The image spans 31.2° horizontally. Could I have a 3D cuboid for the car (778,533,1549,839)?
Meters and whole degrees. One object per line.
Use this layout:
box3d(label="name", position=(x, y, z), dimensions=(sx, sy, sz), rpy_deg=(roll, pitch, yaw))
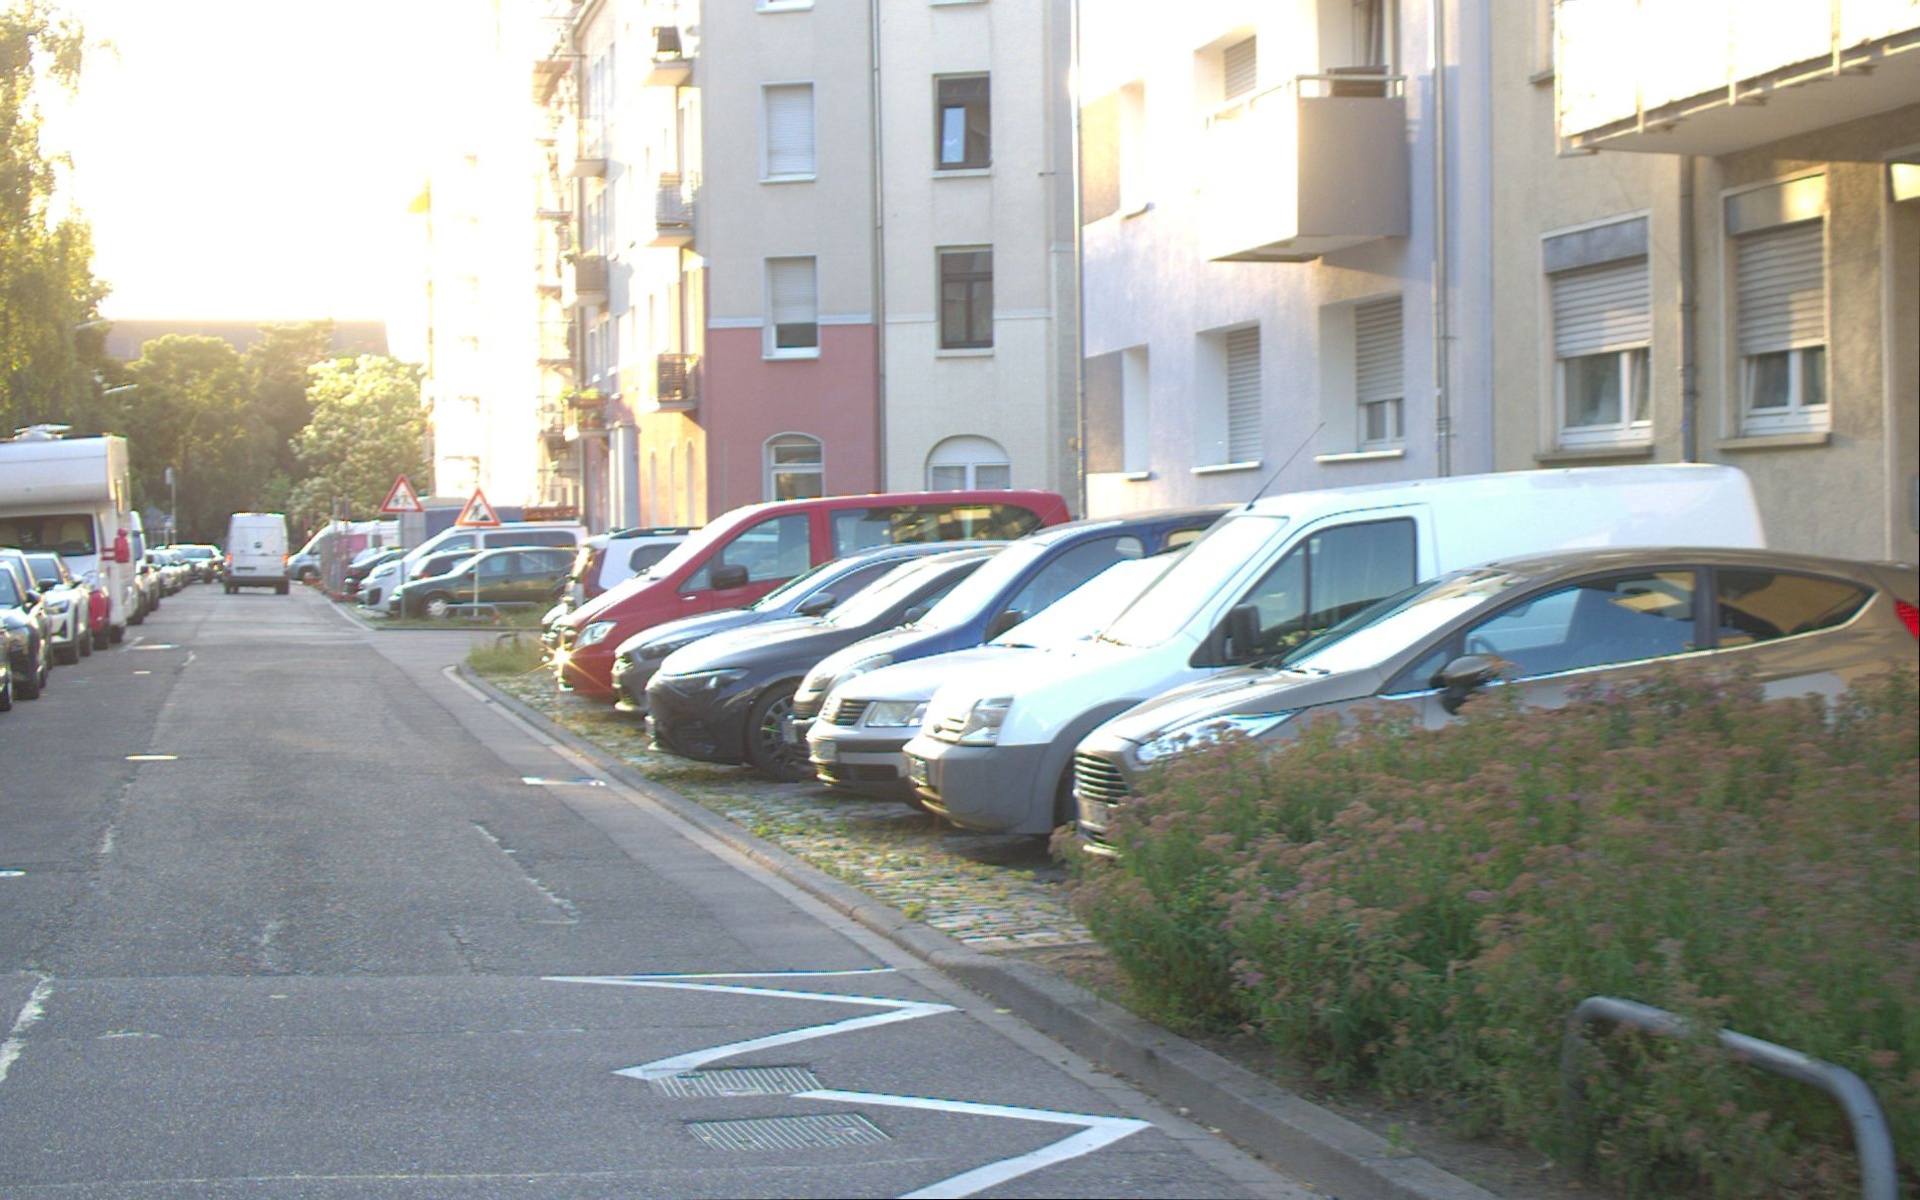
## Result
box3d(label="car", position=(1.085, 0.425, 19.138), dimensions=(3.954, 1.517, 1.706), rpy_deg=(-1, 1, -11))

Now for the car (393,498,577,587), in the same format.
box3d(label="car", position=(-11.040, -1.339, 79.824), dimensions=(3.986, 2.007, 2.001), rpy_deg=(-1, 1, -15))

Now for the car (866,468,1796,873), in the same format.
box3d(label="car", position=(1.799, 0.300, 17.197), dimensions=(4.278, 1.854, 1.742), rpy_deg=(-1, 1, -11))

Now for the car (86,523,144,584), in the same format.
box3d(label="car", position=(-26.629, -1.489, 108.408), dimensions=(1.652, 1.824, 3.877), rpy_deg=(-2, 1, -13))

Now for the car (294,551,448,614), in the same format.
box3d(label="car", position=(-15.853, -0.472, 92.491), dimensions=(3.986, 1.525, 1.659), rpy_deg=(-2, 2, -12))

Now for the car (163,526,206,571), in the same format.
box3d(label="car", position=(-32.698, -2.170, 144.837), dimensions=(1.652, 1.824, 3.877), rpy_deg=(-2, 1, -13))

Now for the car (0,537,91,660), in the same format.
box3d(label="car", position=(-12.526, -0.046, 45.722), dimensions=(1.652, 1.536, 3.877), rpy_deg=(-2, 2, -12))

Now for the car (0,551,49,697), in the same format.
box3d(label="car", position=(-10.486, 0.234, 36.071), dimensions=(1.652, 1.430, 3.877), rpy_deg=(-2, 2, -13))

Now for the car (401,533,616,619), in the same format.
box3d(label="car", position=(-8.799, -0.481, 66.939), dimensions=(3.986, 1.525, 1.659), rpy_deg=(-2, 2, -12))

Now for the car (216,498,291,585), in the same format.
box3d(label="car", position=(-23.165, -1.924, 112.624), dimensions=(2.128, 2.708, 4.835), rpy_deg=(-2, 1, -13))

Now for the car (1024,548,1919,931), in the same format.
box3d(label="car", position=(2.363, 0.541, 14.967), dimensions=(3.871, 1.487, 1.742), rpy_deg=(-1, 1, -11))

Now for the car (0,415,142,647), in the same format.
box3d(label="car", position=(-14.144, -1.051, 52.943), dimensions=(2.619, 3.257, 7.699), rpy_deg=(-2, 1, -11))

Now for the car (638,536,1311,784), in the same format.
box3d(label="car", position=(0.064, 0.369, 23.525), dimensions=(4.307, 1.444, 1.655), rpy_deg=(-2, 1, -11))

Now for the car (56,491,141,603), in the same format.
box3d(label="car", position=(-19.942, -1.235, 79.722), dimensions=(1.769, 2.437, 5.147), rpy_deg=(-2, 1, -13))

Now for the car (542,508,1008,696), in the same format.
box3d(label="car", position=(-1.864, -0.003, 34.107), dimensions=(4.323, 1.632, 1.818), rpy_deg=(-2, 1, -12))

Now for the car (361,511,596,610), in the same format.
box3d(label="car", position=(-10.346, -0.863, 73.756), dimensions=(4.812, 1.961, 1.739), rpy_deg=(-2, 2, -12))

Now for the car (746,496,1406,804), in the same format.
box3d(label="car", position=(0.686, 0.276, 21.516), dimensions=(3.790, 1.689, 1.655), rpy_deg=(-2, 1, -11))

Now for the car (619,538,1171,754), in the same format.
box3d(label="car", position=(-0.521, 0.315, 26.080), dimensions=(3.874, 1.411, 1.637), rpy_deg=(-2, 1, -13))

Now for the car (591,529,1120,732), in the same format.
box3d(label="car", position=(-0.904, 0.227, 28.781), dimensions=(4.144, 1.466, 1.637), rpy_deg=(-2, 1, -12))

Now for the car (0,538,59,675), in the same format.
box3d(label="car", position=(-11.776, 0.060, 41.395), dimensions=(1.652, 1.559, 3.877), rpy_deg=(-2, 2, -13))

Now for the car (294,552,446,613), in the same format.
box3d(label="car", position=(-16.224, -0.489, 94.485), dimensions=(3.986, 1.525, 1.659), rpy_deg=(-2, 2, -12))

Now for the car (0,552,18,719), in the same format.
box3d(label="car", position=(-9.499, 0.313, 31.208), dimensions=(1.652, 1.430, 3.797), rpy_deg=(-2, 2, -13))

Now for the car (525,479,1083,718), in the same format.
box3d(label="car", position=(-1.457, -0.039, 31.253), dimensions=(4.721, 1.903, 2.060), rpy_deg=(-2, 1, -12))

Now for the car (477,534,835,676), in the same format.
box3d(label="car", position=(-3.468, 0.040, 38.959), dimensions=(3.810, 1.423, 1.635), rpy_deg=(-2, 1, -12))

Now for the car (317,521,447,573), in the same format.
box3d(label="car", position=(-18.603, -1.725, 110.625), dimensions=(3.986, 1.525, 1.659), rpy_deg=(-2, 2, -12))

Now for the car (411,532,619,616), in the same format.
box3d(label="car", position=(-8.970, -0.541, 69.267), dimensions=(3.986, 1.525, 1.659), rpy_deg=(-2, 2, -12))

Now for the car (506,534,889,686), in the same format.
box3d(label="car", position=(-2.808, 0.087, 36.527), dimensions=(3.810, 1.423, 1.635), rpy_deg=(-2, 1, -12))

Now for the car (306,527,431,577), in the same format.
box3d(label="car", position=(-19.741, -1.619, 114.643), dimensions=(3.986, 1.525, 1.659), rpy_deg=(-2, 2, -12))
